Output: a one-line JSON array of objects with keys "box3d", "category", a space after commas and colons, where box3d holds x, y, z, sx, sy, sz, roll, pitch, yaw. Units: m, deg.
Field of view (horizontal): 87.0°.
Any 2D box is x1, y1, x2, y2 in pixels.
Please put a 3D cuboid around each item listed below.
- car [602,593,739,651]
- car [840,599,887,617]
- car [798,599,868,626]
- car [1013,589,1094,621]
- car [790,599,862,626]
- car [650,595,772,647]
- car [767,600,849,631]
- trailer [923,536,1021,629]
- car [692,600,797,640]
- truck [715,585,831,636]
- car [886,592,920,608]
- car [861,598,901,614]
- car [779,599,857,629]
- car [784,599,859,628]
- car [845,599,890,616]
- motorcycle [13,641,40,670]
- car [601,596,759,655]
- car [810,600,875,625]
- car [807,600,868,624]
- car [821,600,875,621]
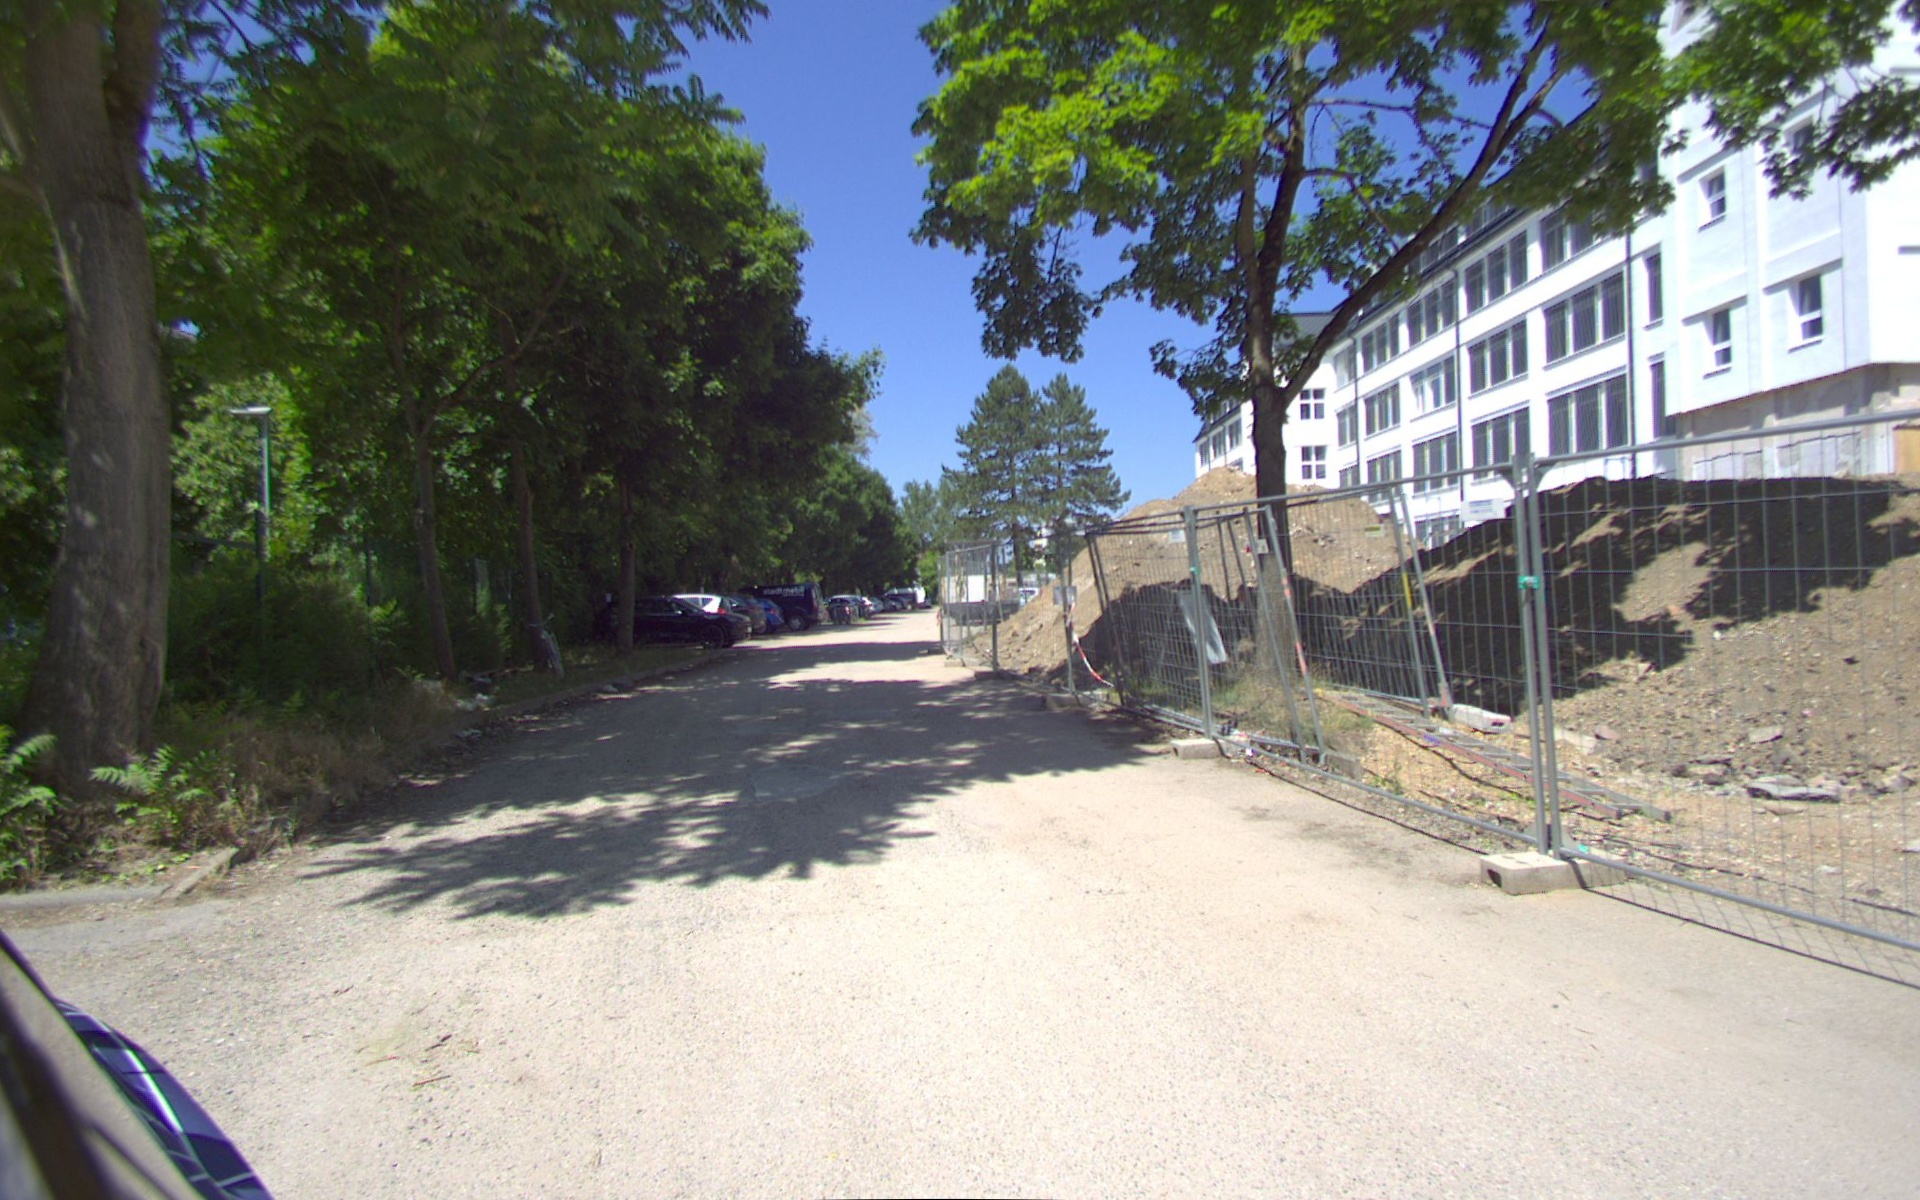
[{"box3d": [-8.968, 0.668, 31.535, 3.737, 1.647, 1.848, -1, 0, 0], "category": "car"}, {"box3d": [-8.144, 0.679, 85.638, 3.739, 1.420, 1.740, -1, 0, 2], "category": "car"}, {"box3d": [-7.313, 0.718, 58.471, 3.739, 1.420, 1.740, -1, 0, 2], "category": "car"}, {"box3d": [4.507, 0.226, 49.206, 3.739, 1.420, 1.740, -1, 0, 2], "category": "car"}, {"box3d": [-7.466, 0.688, 56.648, 3.739, 1.420, 1.740, -1, 0, 2], "category": "car"}, {"box3d": [-8.476, 0.693, 34.675, 3.737, 1.647, 1.848, -1, 0, 0], "category": "car"}, {"box3d": [-7.510, 0.743, 50.111, 3.739, 1.420, 1.740, -1, 0, 2], "category": "car"}, {"box3d": [0.724, -0.676, 42.595, 3.007, 3.447, 8.751, -1, 0, 8], "category": "trailer"}, {"box3d": [-8.426, 0.762, 39.714, 3.737, 1.420, 1.741, -1, 0, 0], "category": "car"}, {"box3d": [-7.777, 0.431, 42.386, 4.398, 2.009, 1.999, -1, 0, 2], "category": "truck"}, {"box3d": [-6.541, -0.032, 117.063, 3.739, 1.734, 1.740, -1, 0, 2], "category": "car"}, {"box3d": [-7.615, 0.573, 97.712, 3.739, 1.420, 1.740, -1, 0, 2], "category": "car"}, {"box3d": [-7.304, 0.721, 52.313, 3.739, 1.420, 1.740, -1, 0, 2], "category": "car"}, {"box3d": [-7.420, 0.714, 54.536, 3.739, 1.420, 1.740, -1, 0, 2], "category": "car"}, {"box3d": [-8.287, 0.639, 90.811, 3.739, 1.420, 1.740, -1, 0, 2], "category": "car"}, {"box3d": [-40.770, 2.420, 44.232, 0.689, 1.176, 2.315, -2, 0, -39], "category": "motorcycle"}, {"box3d": [-7.820, 0.703, 28.455, 3.945, 1.514, 1.689, -1, 0, 1], "category": "car"}, {"box3d": [-7.201, 0.734, 62.028, 3.739, 1.420, 1.740, -1, 0, 2], "category": "car"}, {"box3d": [-7.984, 0.766, 66.134, 3.739, 1.420, 1.740, -1, 0, 2], "category": "car"}, {"box3d": [-8.249, 0.752, 74.987, 3.739, 1.420, 1.740, -1, 0, 2], "category": "car"}]
